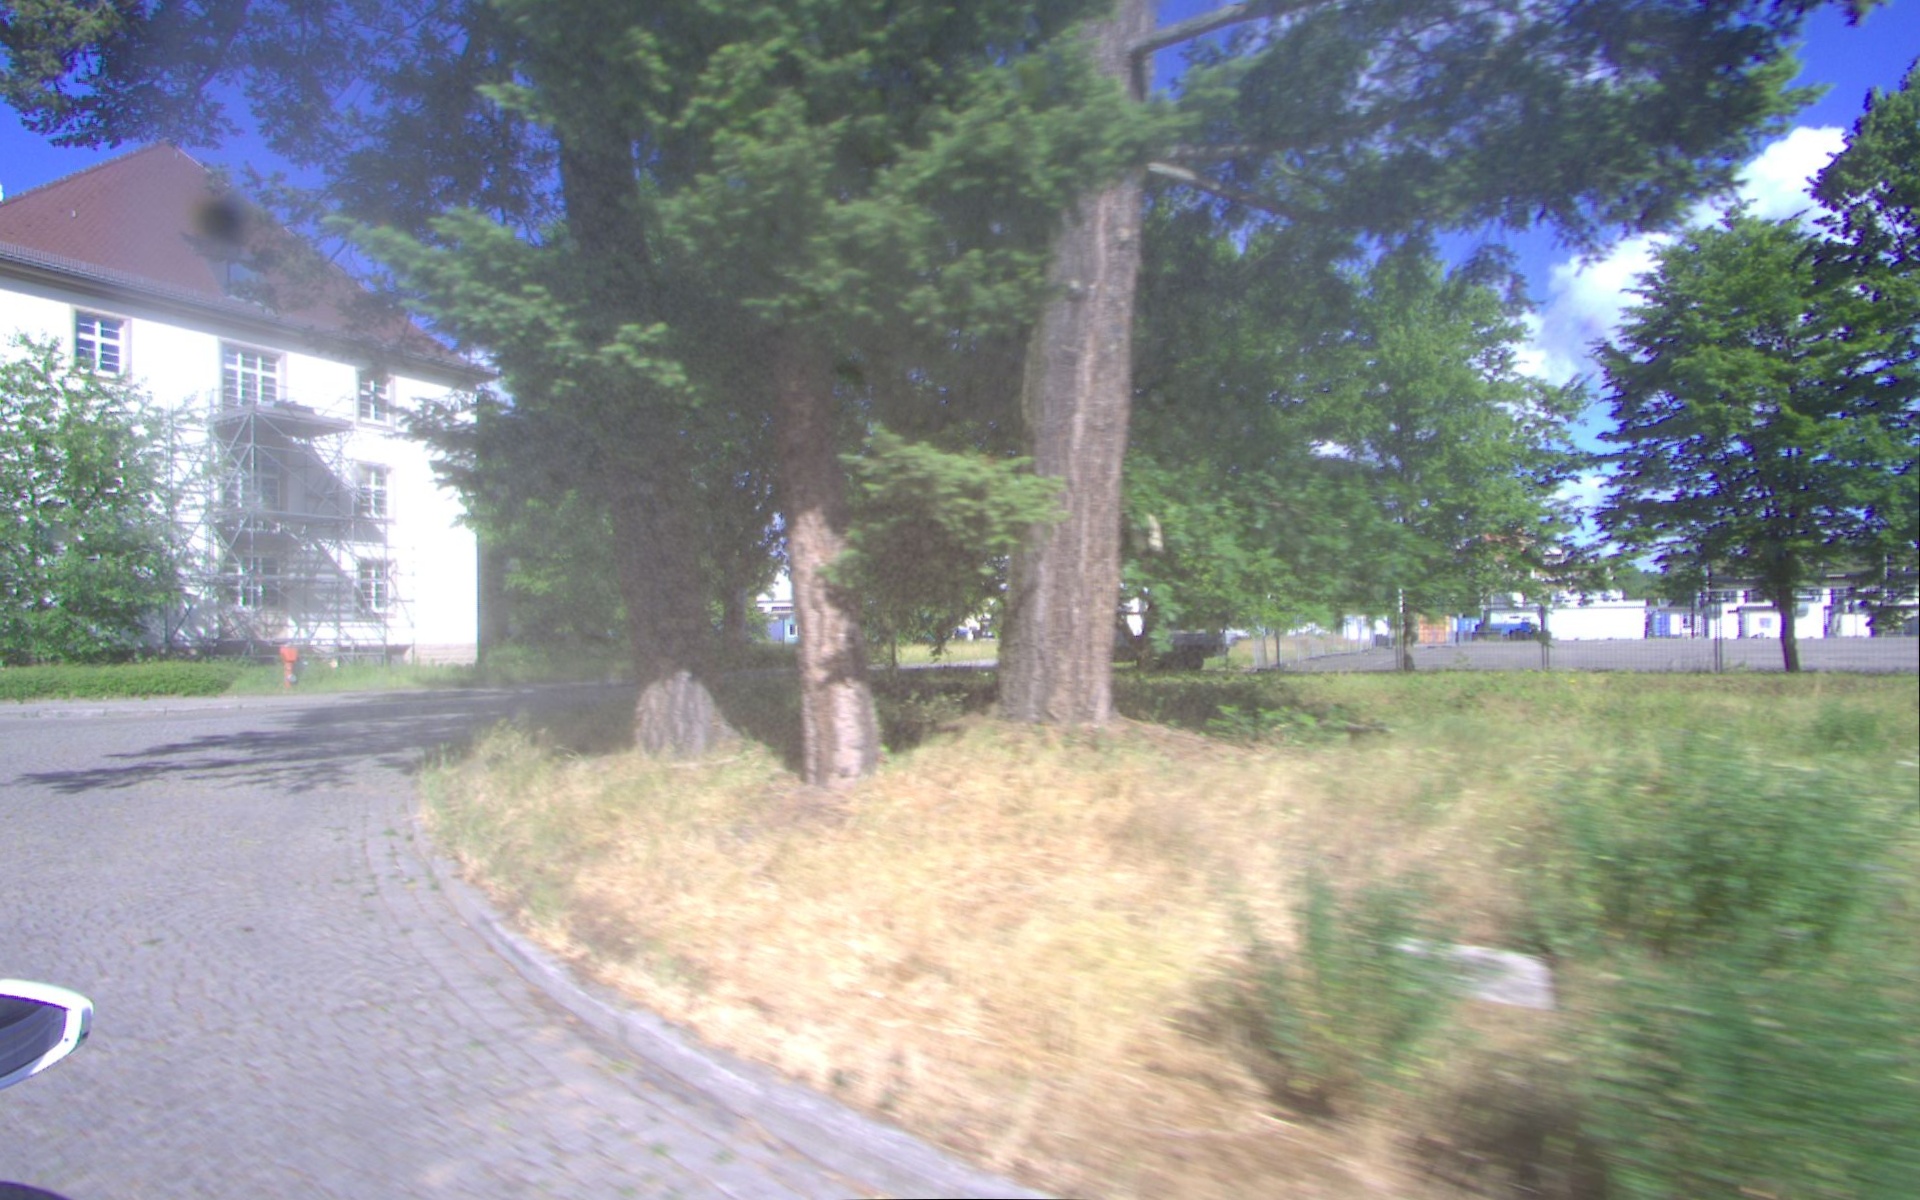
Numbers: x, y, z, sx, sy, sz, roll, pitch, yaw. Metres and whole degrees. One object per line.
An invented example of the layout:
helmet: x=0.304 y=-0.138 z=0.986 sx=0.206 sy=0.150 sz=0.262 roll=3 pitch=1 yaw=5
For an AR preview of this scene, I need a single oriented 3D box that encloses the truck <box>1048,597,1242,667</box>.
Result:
truck: x=6.822 y=1.226 z=37.361 sx=6.783 sy=2.454 sz=2.231 roll=-1 pitch=-3 yaw=30
